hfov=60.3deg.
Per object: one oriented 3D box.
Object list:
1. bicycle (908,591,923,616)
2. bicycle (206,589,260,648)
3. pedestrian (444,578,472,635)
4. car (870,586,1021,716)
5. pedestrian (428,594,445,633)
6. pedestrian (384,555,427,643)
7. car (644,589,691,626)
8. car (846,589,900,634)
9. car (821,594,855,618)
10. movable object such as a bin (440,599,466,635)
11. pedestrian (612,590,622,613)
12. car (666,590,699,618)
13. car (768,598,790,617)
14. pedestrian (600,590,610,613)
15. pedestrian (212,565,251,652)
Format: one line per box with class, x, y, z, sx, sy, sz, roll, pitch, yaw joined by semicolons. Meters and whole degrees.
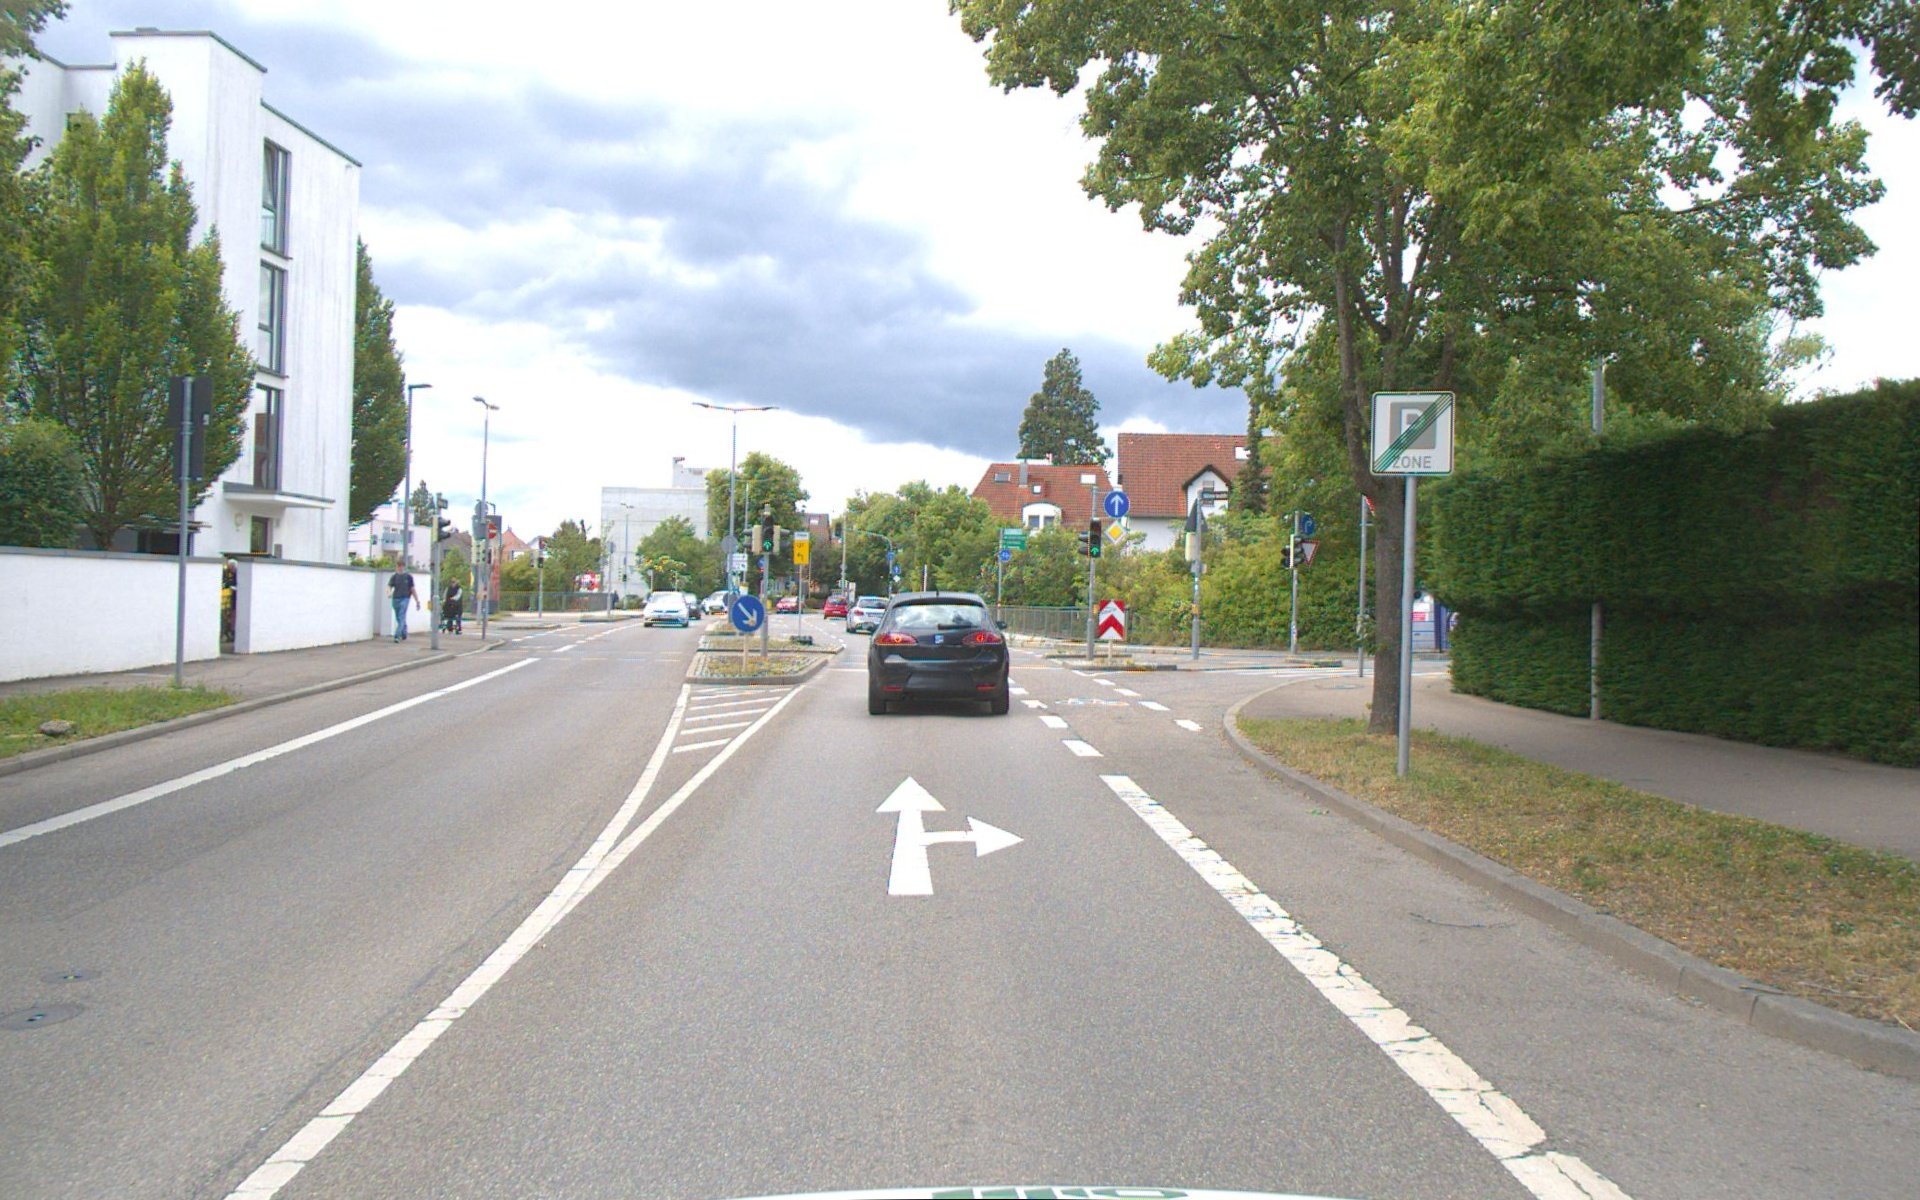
bicycle;-2.737;0.203;102.204;0.873;1.537;2.782;1;0;-1
bicycle;-14.794;0.363;33.695;0.499;1.184;1.653;0;0;-5
pedestrian;-14.382;0.193;47.404;0.521;1.569;0.730;6;-1;-9
car;-0.264;0.582;20.907;1.724;1.474;3.712;1;0;-3
pedestrian;-14.960;0.385;47.295;0.319;1.080;0.443;5;-1;-8
pedestrian;-12.849;-0.016;38.354;0.636;1.982;0.870;4;-1;-7
car;-12.031;0.309;68.174;1.765;1.469;3.941;1;0;-8
car;-3.551;0.437;66.880;1.785;1.729;4.244;1;0;-9
car;-8.029;0.371;108.605;1.905;1.507;4.244;1;0;-9
movable object such as a bin;-14.279;0.475;46.592;0.488;0.976;0.984;6;-1;-9
pedestrian;-24.864;0.123;119.863;0.644;1.662;1.067;3;-1;-13
car;-15.154;0.206;90.482;1.688;1.415;3.910;2;0;-8
car;-15.204;0.605;138.650;1.688;1.473;4.059;2;0;-8
pedestrian;-25.700;0.105;119.728;0.644;1.662;0.830;3;-1;-13
pedestrian;-14.779;0.173;33.547;0.517;1.729;0.603;1;-1;-5
